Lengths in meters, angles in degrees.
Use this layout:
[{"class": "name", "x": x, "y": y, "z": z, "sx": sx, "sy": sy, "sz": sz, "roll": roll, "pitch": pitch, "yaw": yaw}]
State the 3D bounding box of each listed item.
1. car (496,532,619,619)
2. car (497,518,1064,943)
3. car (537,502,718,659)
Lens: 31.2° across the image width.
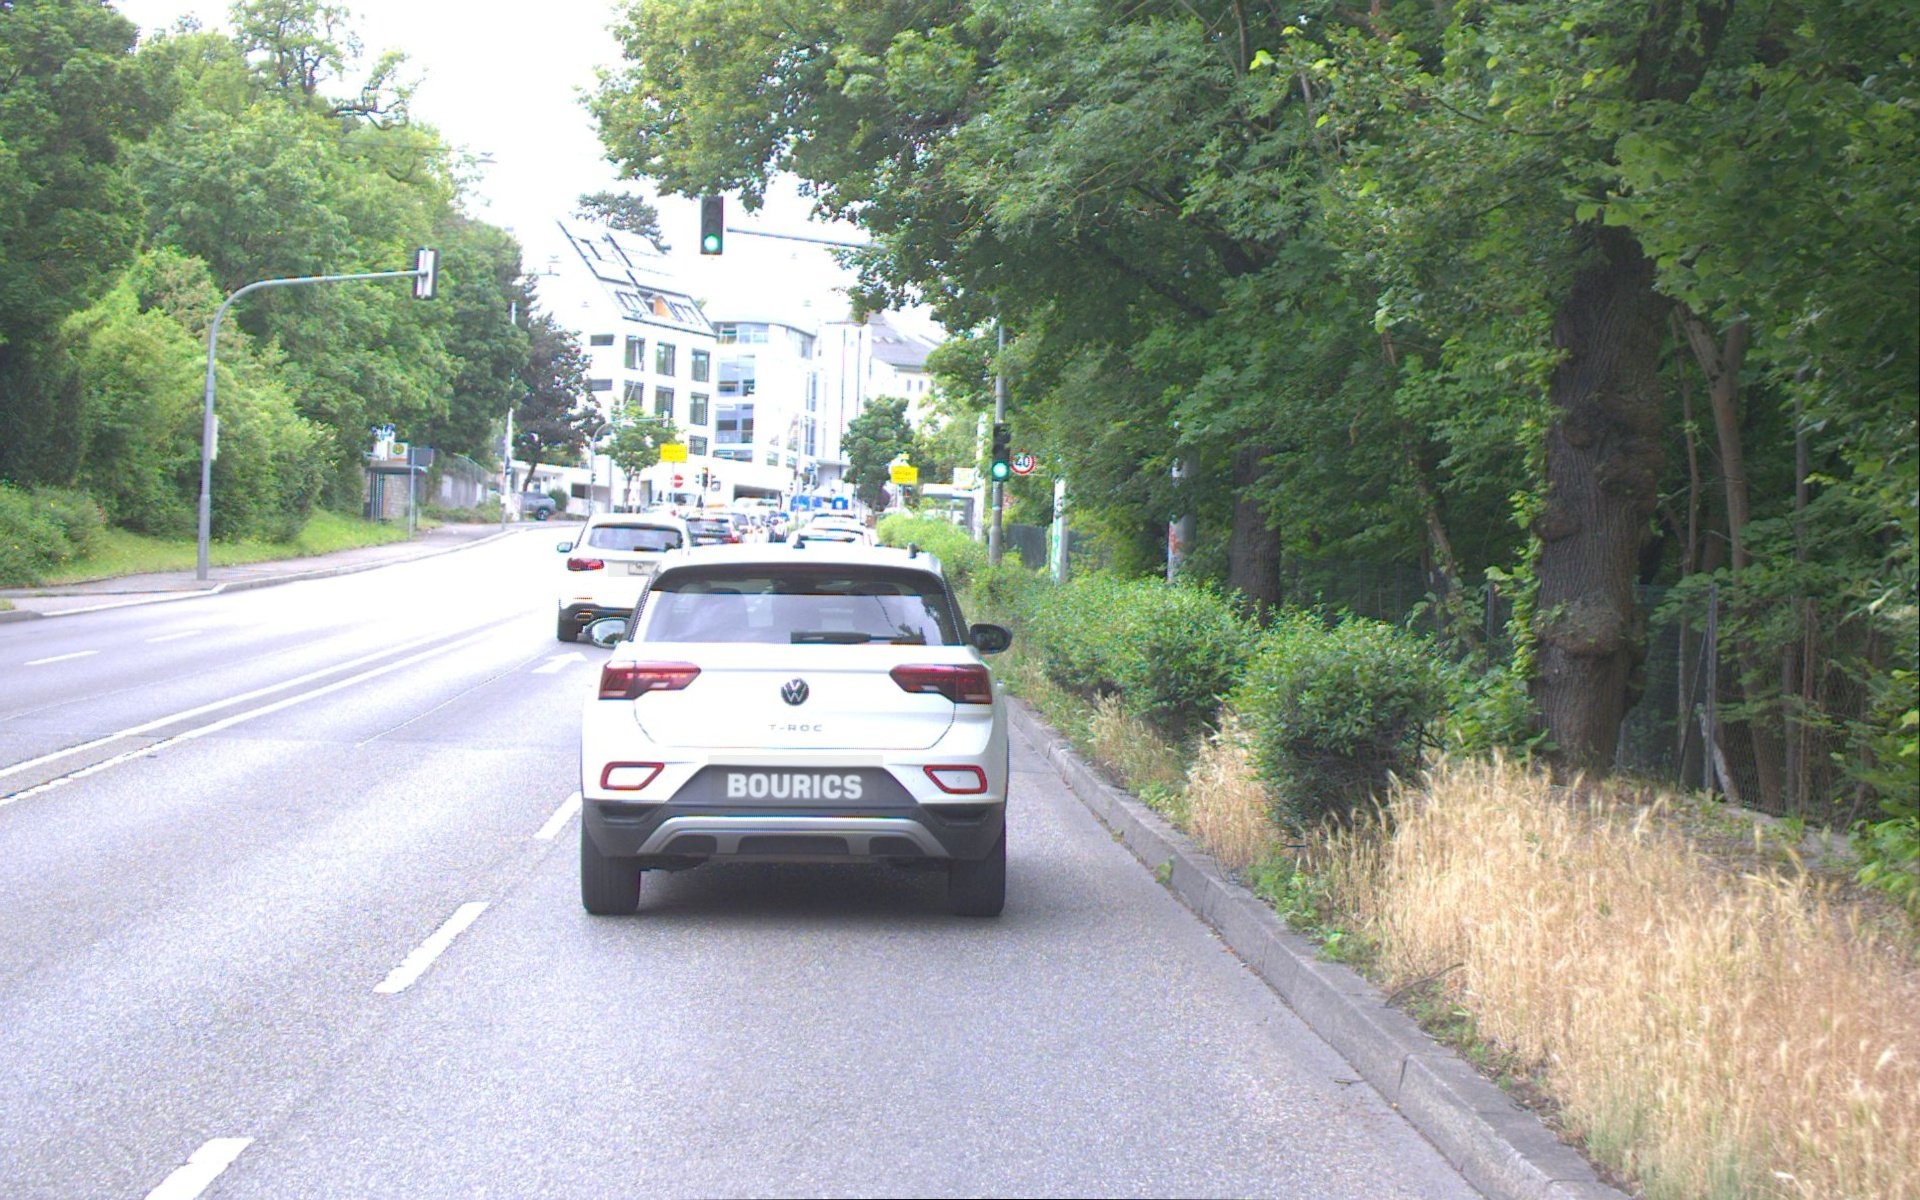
[{"class": "car", "x": -7.454, "y": -0.477, "z": 63.434, "sx": 1.949, "sy": 1.461, "sz": 4.002, "roll": 1, "pitch": 2, "yaw": -11}, {"class": "car", "x": -0.953, "y": 0.486, "z": 15.424, "sx": 2.000, "sy": 1.590, "sz": 4.001, "roll": -2, "pitch": 1, "yaw": -10}, {"class": "car", "x": -4.304, "y": -0.291, "z": 44.012, "sx": 1.851, "sy": 1.697, "sz": 4.002, "roll": 4, "pitch": 2, "yaw": -11}]
